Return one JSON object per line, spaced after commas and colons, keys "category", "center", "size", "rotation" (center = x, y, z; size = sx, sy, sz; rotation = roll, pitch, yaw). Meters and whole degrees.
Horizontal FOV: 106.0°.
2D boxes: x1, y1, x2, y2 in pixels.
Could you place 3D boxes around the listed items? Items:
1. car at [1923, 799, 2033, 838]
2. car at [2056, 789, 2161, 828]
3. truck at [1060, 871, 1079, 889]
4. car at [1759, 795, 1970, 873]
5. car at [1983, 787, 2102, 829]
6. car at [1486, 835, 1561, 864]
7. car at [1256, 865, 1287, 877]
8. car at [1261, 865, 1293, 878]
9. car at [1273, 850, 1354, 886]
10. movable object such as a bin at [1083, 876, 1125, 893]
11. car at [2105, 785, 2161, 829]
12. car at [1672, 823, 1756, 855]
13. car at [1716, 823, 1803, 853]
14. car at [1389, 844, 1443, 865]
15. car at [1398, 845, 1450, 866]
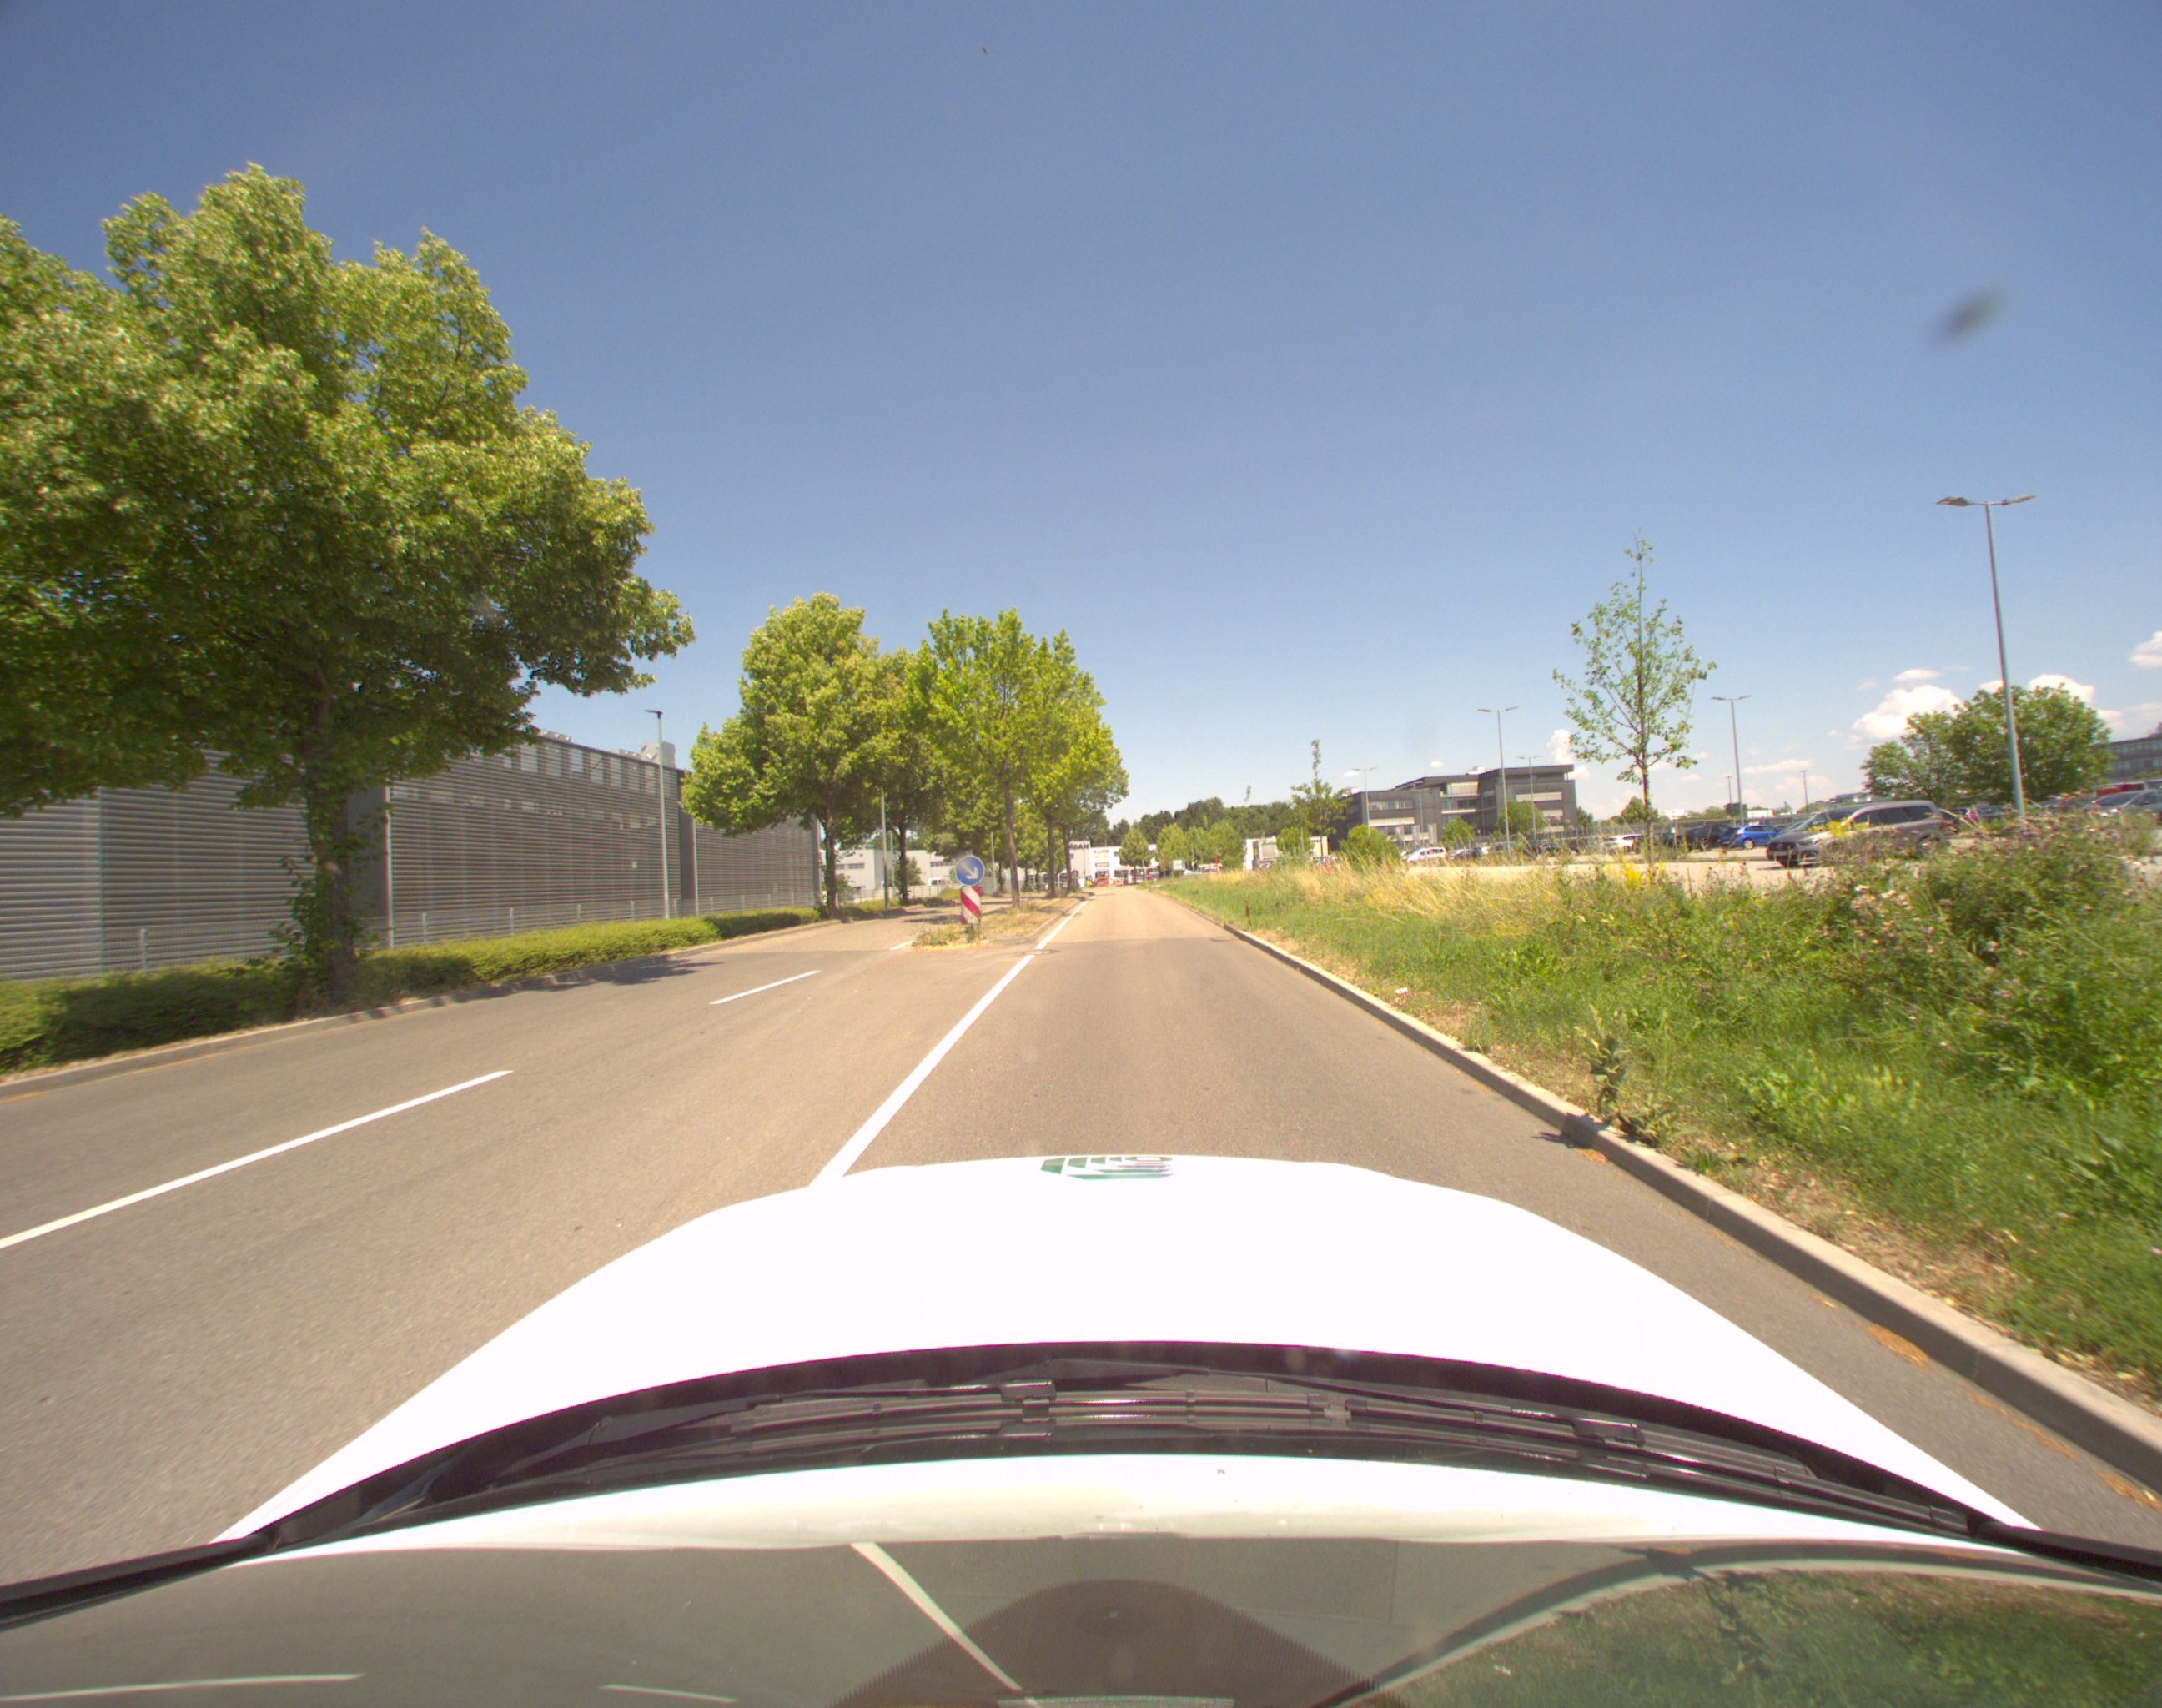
{"category": "car", "center": [46.223, -1.820, 41.999], "size": [3.988, 1.639, 1.993], "rotation": [-5, 1, -10]}
{"category": "car", "center": [46.441, -2.041, 36.522], "size": [3.988, 1.420, 1.715], "rotation": [-5, 1, -10]}
{"category": "truck", "center": [-2.238, 4.963, 157.943], "size": [2.935, 2.885, 5.797], "rotation": [-5, 1, -6]}
{"category": "car", "center": [23.814, -0.582, 24.875], "size": [4.448, 1.914, 1.940], "rotation": [-5, -1, 0]}
{"category": "car", "center": [46.286, -2.206, 39.247], "size": [3.988, 1.639, 1.993], "rotation": [-5, 3, -10]}
{"category": "car", "center": [30.417, -0.303, 56.050], "size": [3.972, 1.641, 1.927], "rotation": [-4, -2, 2]}
{"category": "car", "center": [27.419, 2.450, 117.254], "size": [3.976, 1.400, 1.768], "rotation": [-5, 1, -2]}
{"category": "car", "center": [27.559, 2.497, 114.363], "size": [3.976, 1.400, 1.768], "rotation": [-5, 1, -2]}
{"category": "car", "center": [13.193, 0.804, 46.348], "size": [3.972, 1.724, 1.927], "rotation": [-4, -2, 2]}
{"category": "movable object such as a bin", "center": [4.492, 5.996, 158.631], "size": [7.480, 2.499, 3.677], "rotation": [-5, 1, 10]}
{"category": "car", "center": [45.386, -2.019, 33.739], "size": [3.987, 1.639, 1.994], "rotation": [-5, 1, -10]}
{"category": "car", "center": [40.201, -0.959, 51.742], "size": [3.988, 1.639, 1.993], "rotation": [-5, 1, -10]}
{"category": "car", "center": [40.502, -0.965, 48.679], "size": [3.787, 1.464, 1.732], "rotation": [-5, 1, -3]}
{"category": "car", "center": [31.847, 0.056, 77.561], "size": [4.354, 1.595, 1.768], "rotation": [-5, 1, -2]}
{"category": "car", "center": [31.481, 0.145, 74.815], "size": [3.976, 1.595, 1.768], "rotation": [-5, 1, -2]}
